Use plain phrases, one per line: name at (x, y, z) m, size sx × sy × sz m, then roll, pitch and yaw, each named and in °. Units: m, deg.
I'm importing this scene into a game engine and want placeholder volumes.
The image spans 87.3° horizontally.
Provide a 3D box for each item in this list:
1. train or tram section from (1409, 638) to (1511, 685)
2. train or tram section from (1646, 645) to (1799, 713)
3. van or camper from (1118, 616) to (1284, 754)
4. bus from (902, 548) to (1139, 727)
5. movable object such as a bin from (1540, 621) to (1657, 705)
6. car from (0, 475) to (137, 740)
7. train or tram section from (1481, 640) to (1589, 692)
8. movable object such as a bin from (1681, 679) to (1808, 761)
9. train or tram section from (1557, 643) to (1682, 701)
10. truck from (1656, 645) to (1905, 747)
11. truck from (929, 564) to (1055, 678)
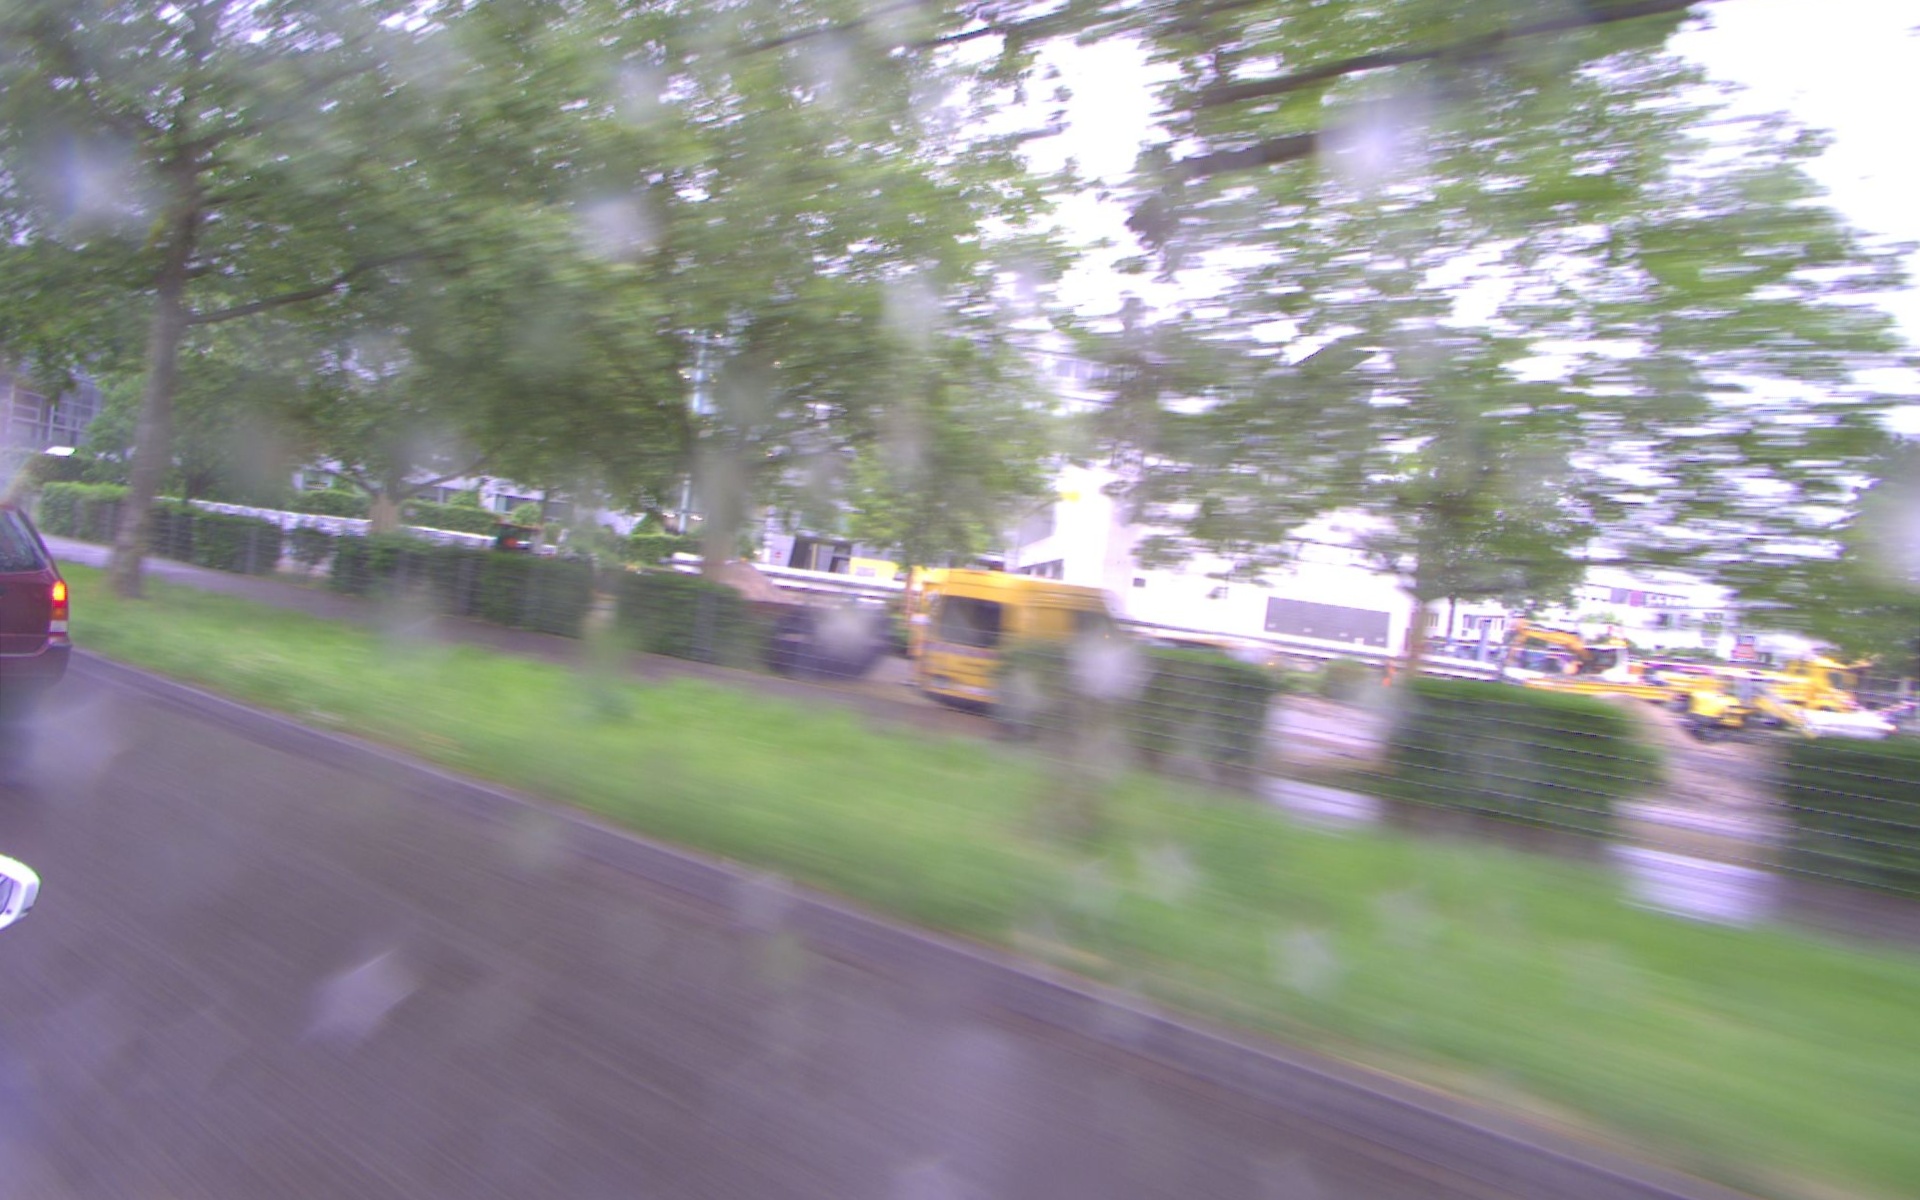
train or tram section at (45.128, 5.447, 91.332) m, size 2.358 × 3.561 × 10.841 m, roll 6°, pitch -2°, yaw -7°
train or tram section at (48.398, 4.914, 64.268) m, size 2.358 × 3.561 × 8.366 m, roll 6°, pitch -2°, yaw -7°
van or camper at (4.346, 1.468, 17.656) m, size 1.770 × 1.929 × 3.997 m, roll 7°, pitch -1°, yaw 27°
bus at (1.276, 0.768, 18.316) m, size 1.967 × 2.679 × 4.799 m, roll 7°, pitch -1°, yaw 32°
movable object such as a bin at (32.373, 3.182, 51.055) m, size 3.566 × 3.671 × 3.301 m, roll 6°, pitch 0°, yaw -24°
car at (-7.519, -0.183, 6.651) m, size 4.042 × 1.555 × 1.843 m, roll 7°, pitch -1°, yaw 31°
train or tram section at (46.329, 5.251, 81.448) m, size 2.358 × 3.561 × 9.108 m, roll 6°, pitch -2°, yaw -7°
movable object such as a bin at (27.970, 4.223, 36.017) m, size 1.975 × 2.385 × 3.283 m, roll 7°, pitch 0°, yaw 8°
train or tram section at (47.381, 5.076, 72.687) m, size 2.358 × 3.561 × 8.526 m, roll 6°, pitch -2°, yaw -7°
truck at (36.683, 4.260, 45.104) m, size 9.300 × 3.385 × 2.496 m, roll 7°, pitch -1°, yaw -4°
truck at (0.822, 0.746, 34.539) m, size 3.026 × 3.067 × 9.500 m, roll 6°, pitch -2°, yaw -4°
